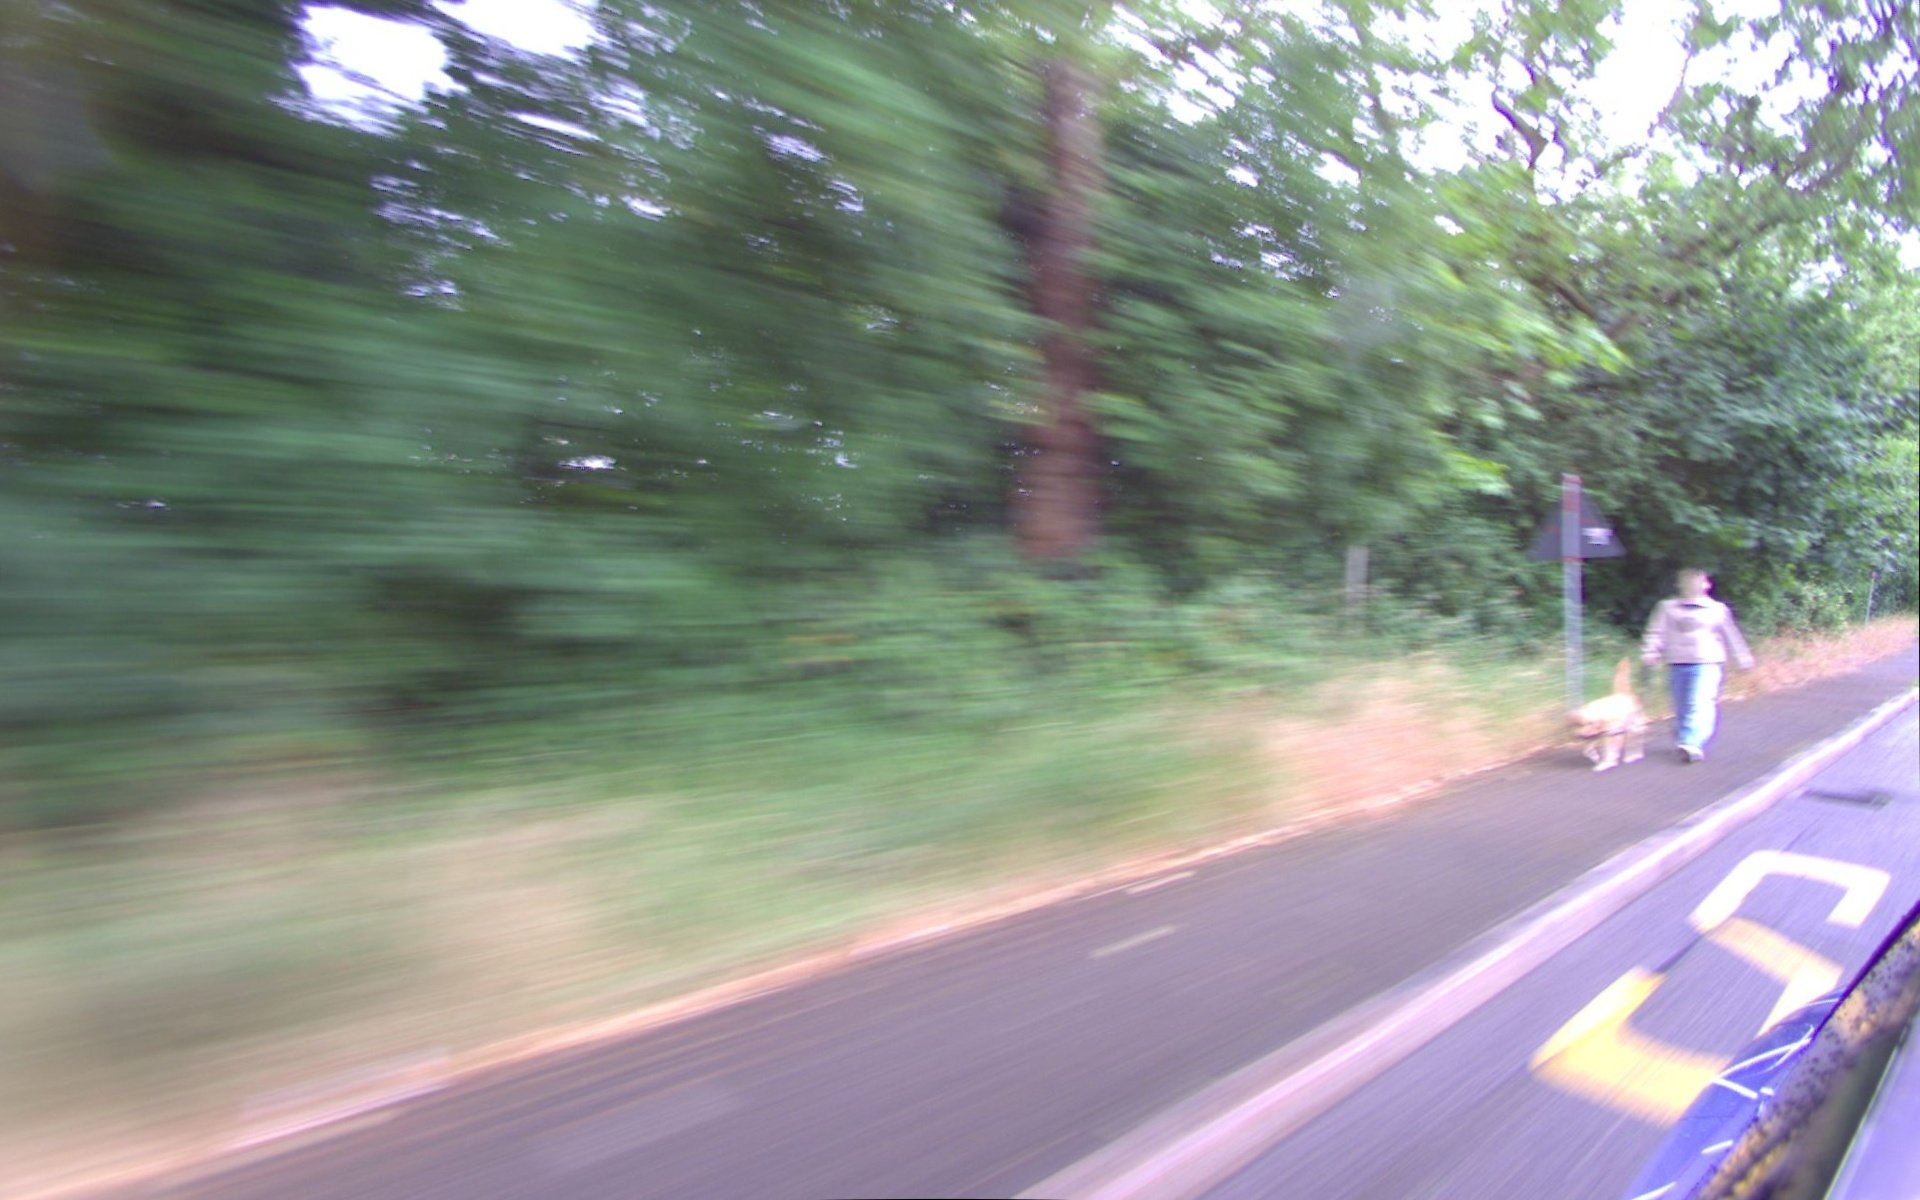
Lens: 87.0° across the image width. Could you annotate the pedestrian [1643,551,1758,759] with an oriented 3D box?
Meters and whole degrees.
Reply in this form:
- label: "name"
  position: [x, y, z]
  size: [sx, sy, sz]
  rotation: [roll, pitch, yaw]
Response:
- label: "pedestrian"
  position: [6.145, 0.420, 8.398]
  size: [0.658, 1.631, 0.642]
  rotation: [-1, 1, -42]
